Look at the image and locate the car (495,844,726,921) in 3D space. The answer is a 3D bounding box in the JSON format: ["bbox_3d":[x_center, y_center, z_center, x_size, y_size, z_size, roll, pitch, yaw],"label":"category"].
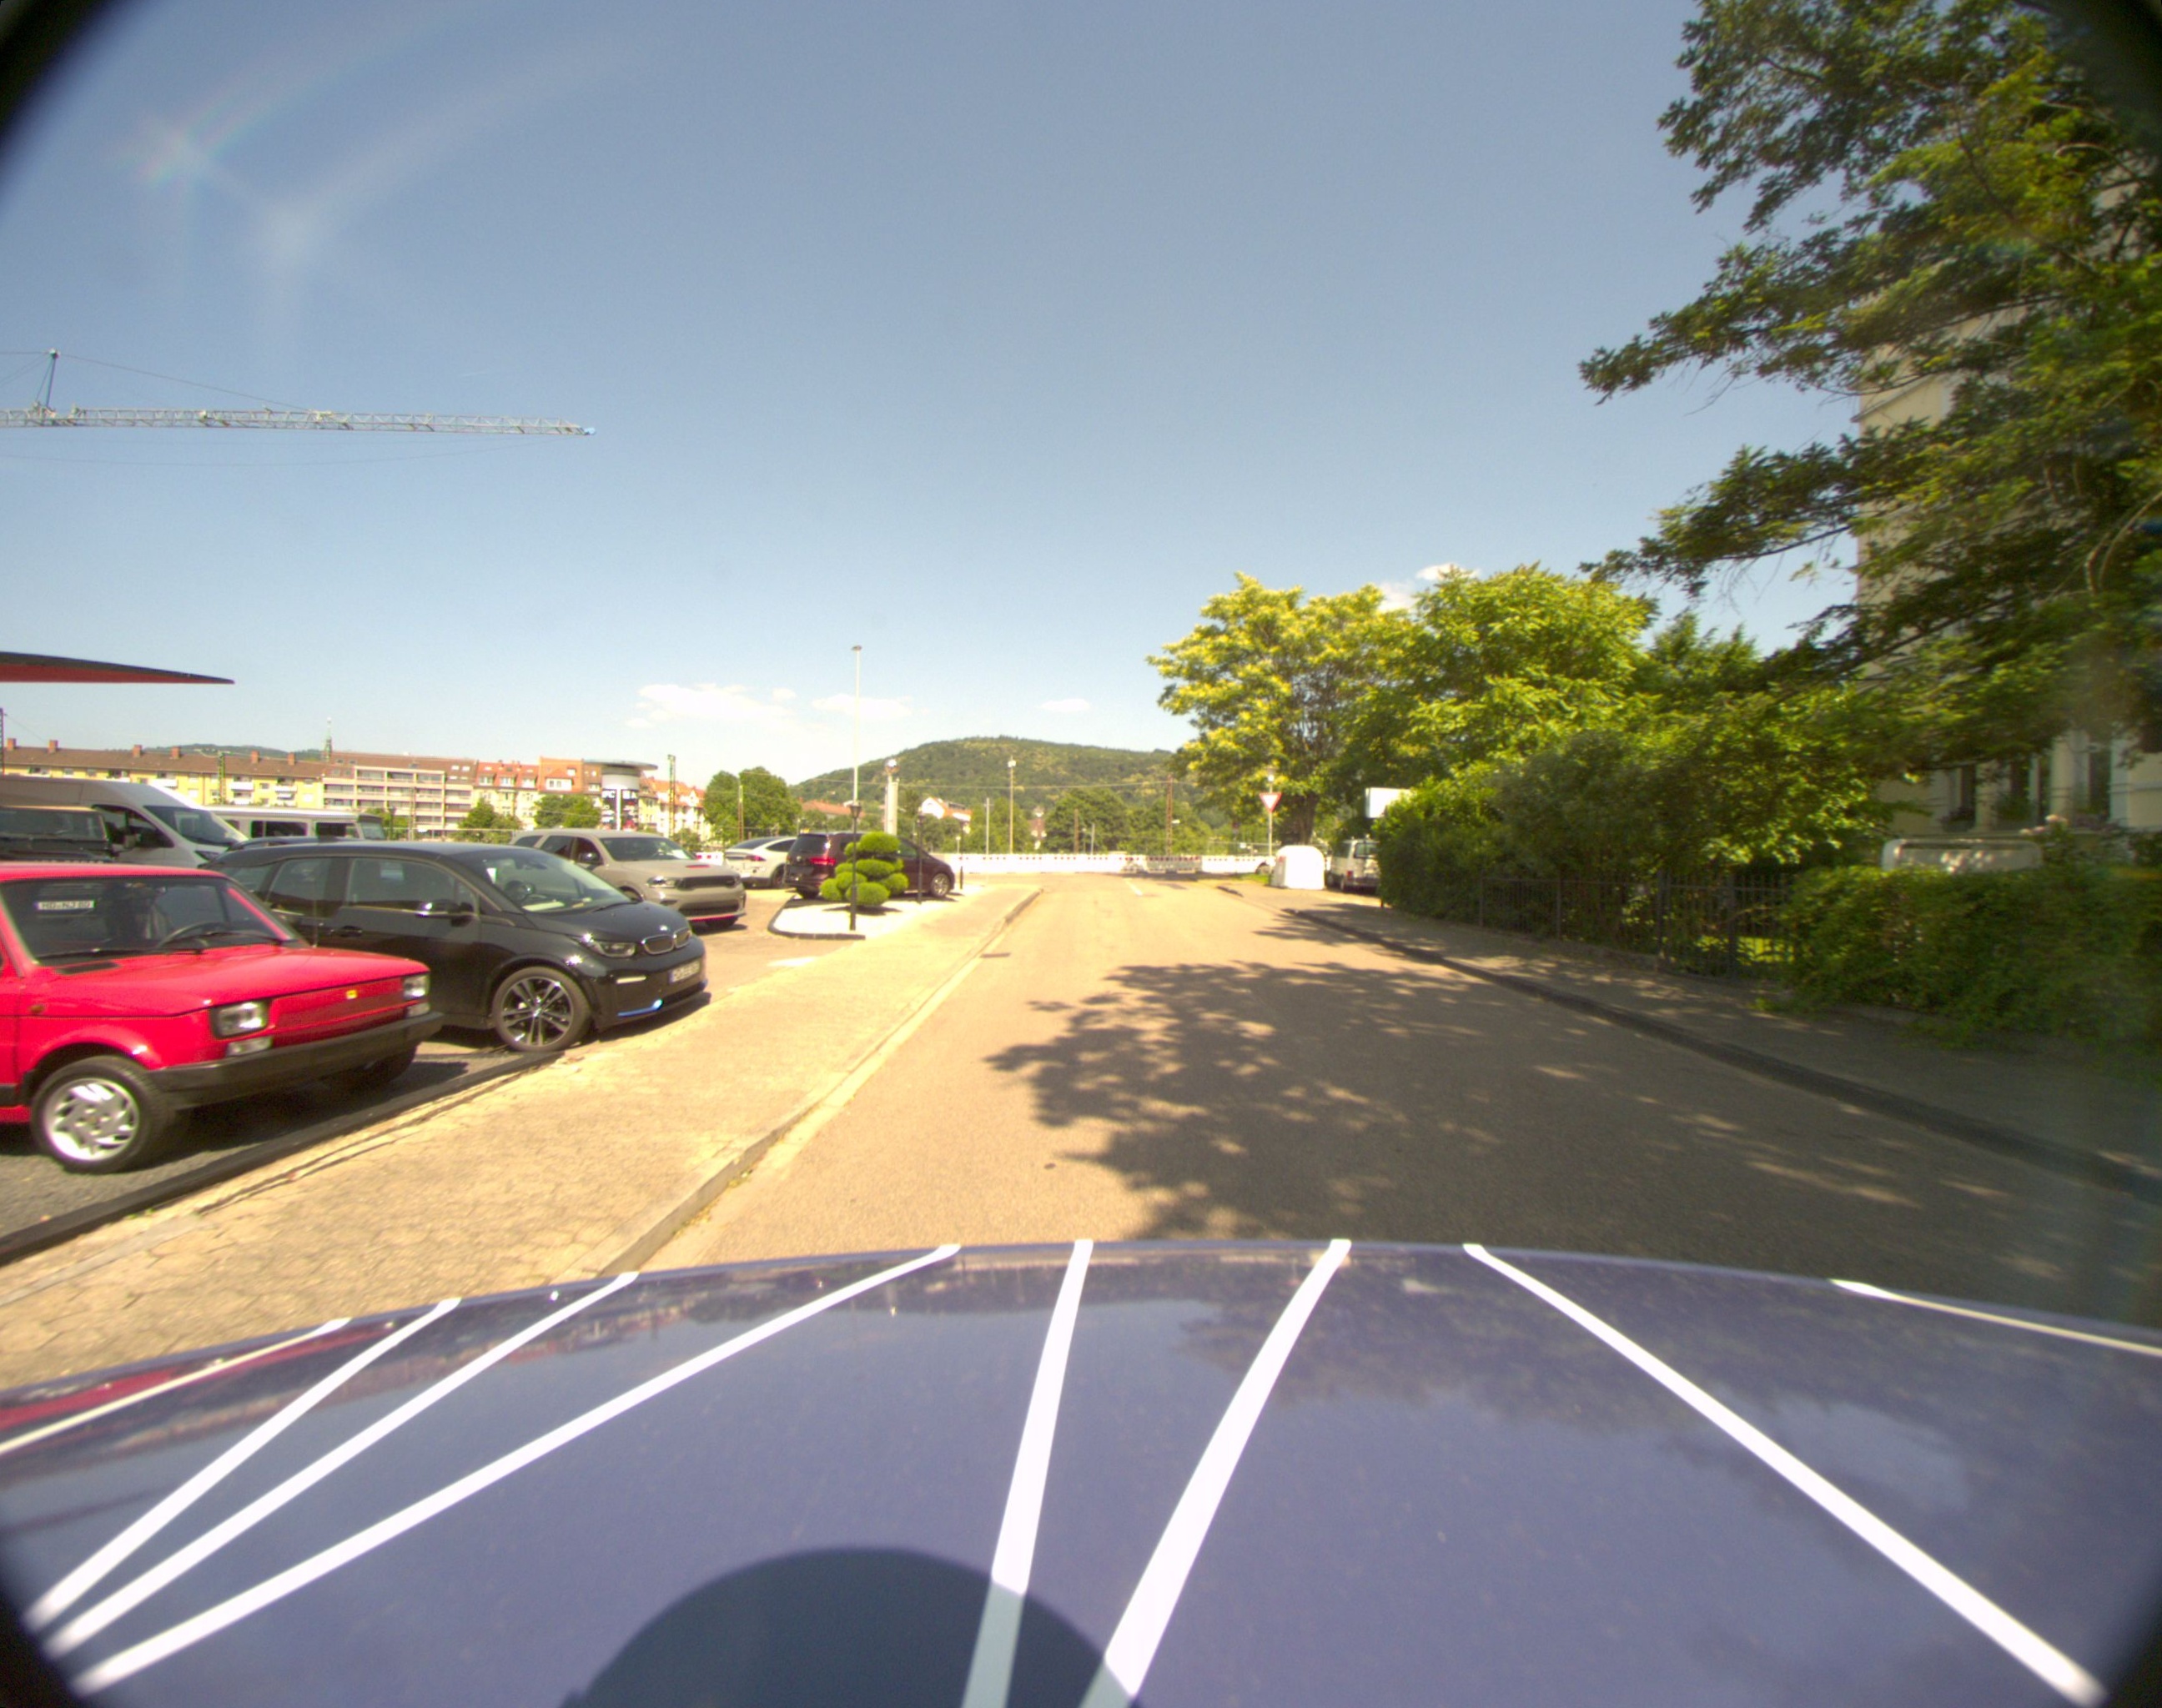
[{"bbox_3d":[-10.577,0.550,17.240,4.216,1.525,1.919,0,2,-40],"label":"car"}]

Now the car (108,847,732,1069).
[{"bbox_3d":[-5.326,0.776,6.559,3.812,1.615,1.759,1,1,-1],"label":"car"}]

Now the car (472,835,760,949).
[{"bbox_3d":[-8.337,0.553,13.576,4.984,1.752,1.928,1,1,24],"label":"car"}]

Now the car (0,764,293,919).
[{"bbox_3d":[-19.203,-0.222,14.007,6.025,2.663,2.255,-1,1,-22],"label":"car"}]

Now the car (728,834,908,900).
[{"bbox_3d":[-7.726,0.318,22.811,2.011,1.769,4.827,1,1,36],"label":"car"}]

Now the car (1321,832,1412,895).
[{"bbox_3d":[10.182,0.240,27.509,1.997,1.920,5.102,3,3,9],"label":"car"}]

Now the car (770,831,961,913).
[{"bbox_3d":[-5.198,0.358,18.818,1.847,1.772,4.299,2,2,37],"label":"car"}]

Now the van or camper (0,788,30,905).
[{"bbox_3d":[-24.280,-0.162,14.240,4.943,2.422,1.995,0,1,-29],"label":"van or camper"}]

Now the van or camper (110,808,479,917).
[{"bbox_3d":[-17.756,0.145,17.634,5.512,2.248,2.108,-1,1,-22],"label":"van or camper"}]

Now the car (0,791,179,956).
[{"bbox_3d":[-15.978,0.196,11.165,4.566,2.138,1.928,2,0,19],"label":"car"}]

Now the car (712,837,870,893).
[{"bbox_3d":[-9.525,0.294,25.401,2.012,1.682,4.826,1,1,27],"label":"car"}]

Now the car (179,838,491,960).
[{"bbox_3d":[-12.029,0.608,12.256,4.565,1.626,1.928,1,1,22],"label":"car"}]

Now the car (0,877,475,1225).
[{"bbox_3d":[-5.496,0.829,3.861,3.558,1.327,1.558,1,1,-1],"label":"car"}]
